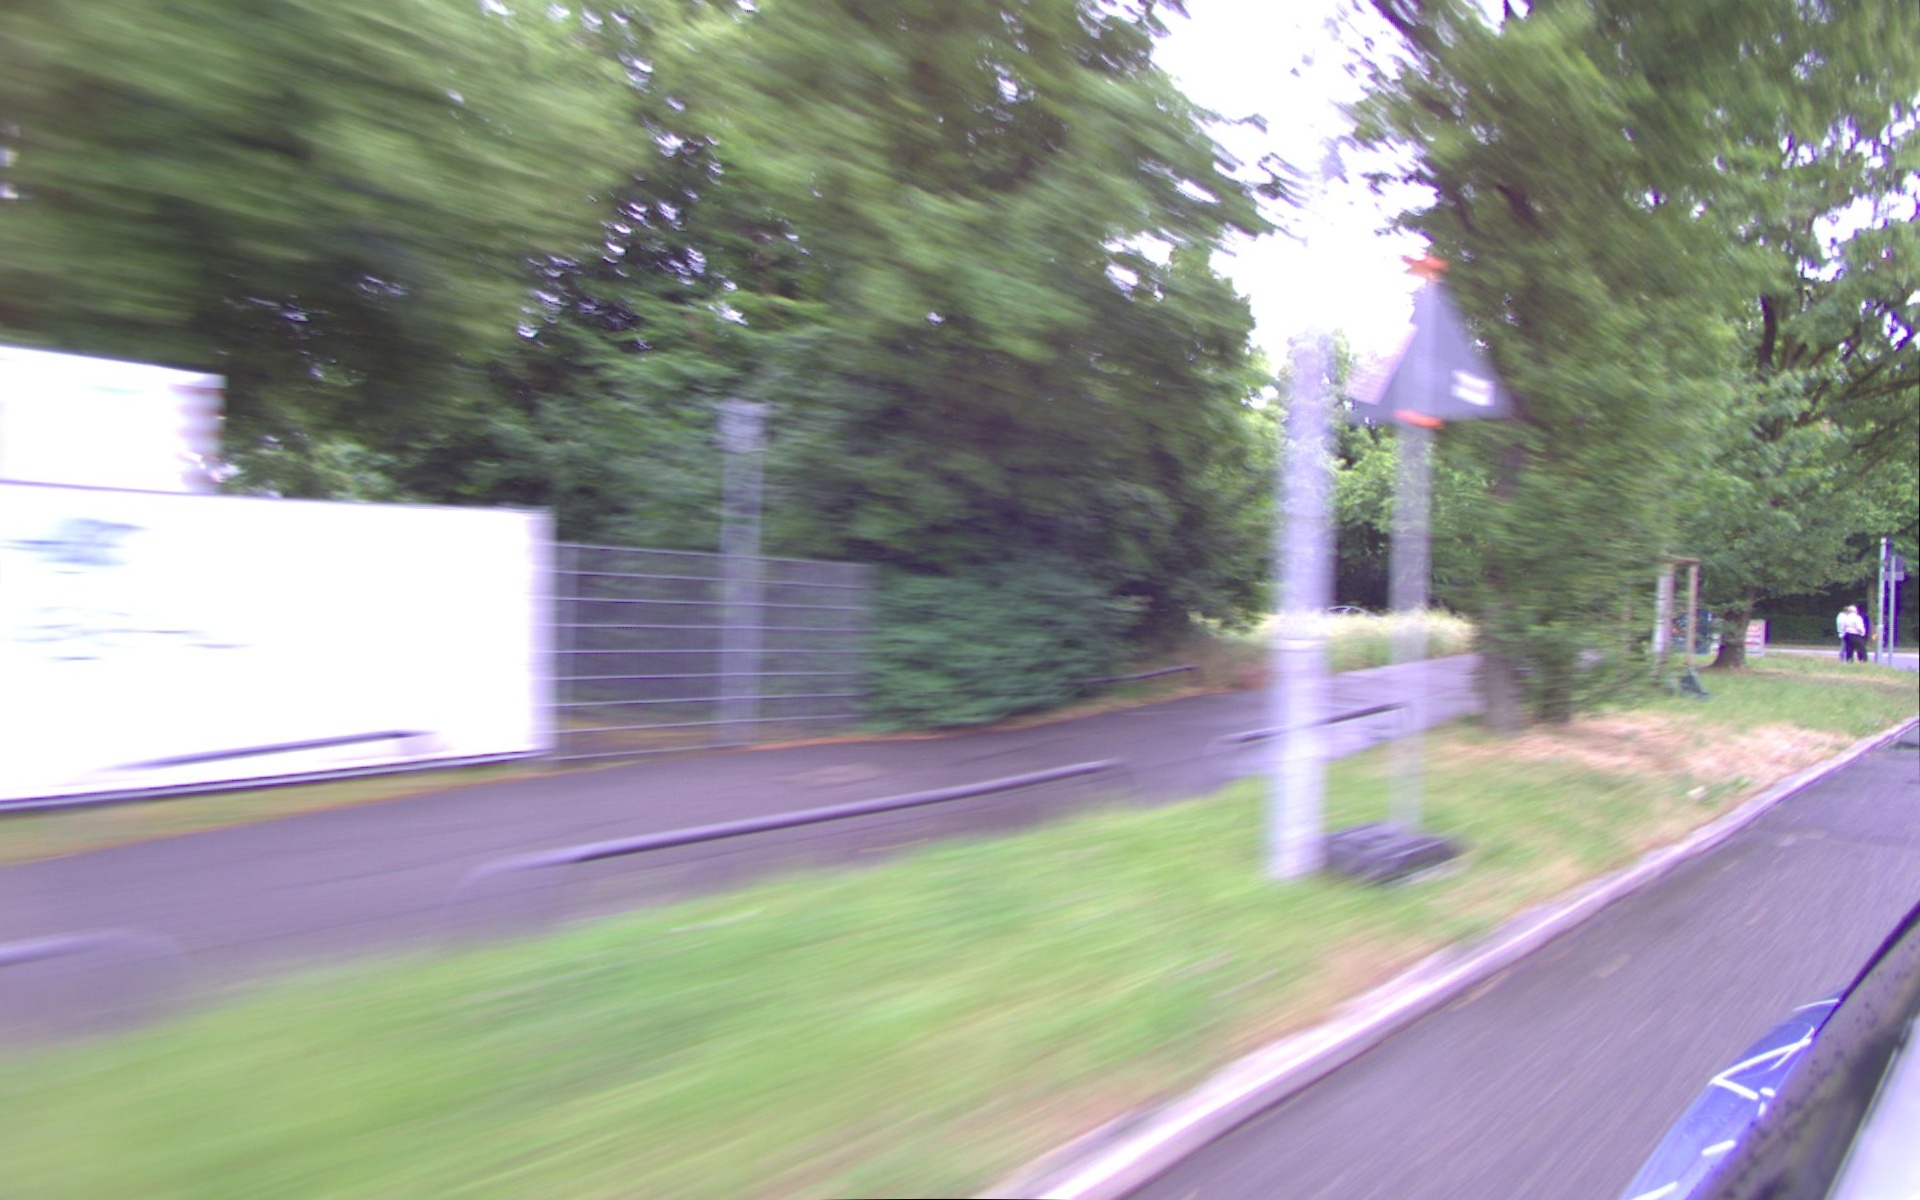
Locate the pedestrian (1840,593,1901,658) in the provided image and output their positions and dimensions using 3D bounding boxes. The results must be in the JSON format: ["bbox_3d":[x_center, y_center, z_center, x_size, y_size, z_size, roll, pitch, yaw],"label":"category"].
[{"bbox_3d":[25.025,0.693,27.832,0.732,1.743,1.021,0,0,3],"label":"pedestrian"}]
